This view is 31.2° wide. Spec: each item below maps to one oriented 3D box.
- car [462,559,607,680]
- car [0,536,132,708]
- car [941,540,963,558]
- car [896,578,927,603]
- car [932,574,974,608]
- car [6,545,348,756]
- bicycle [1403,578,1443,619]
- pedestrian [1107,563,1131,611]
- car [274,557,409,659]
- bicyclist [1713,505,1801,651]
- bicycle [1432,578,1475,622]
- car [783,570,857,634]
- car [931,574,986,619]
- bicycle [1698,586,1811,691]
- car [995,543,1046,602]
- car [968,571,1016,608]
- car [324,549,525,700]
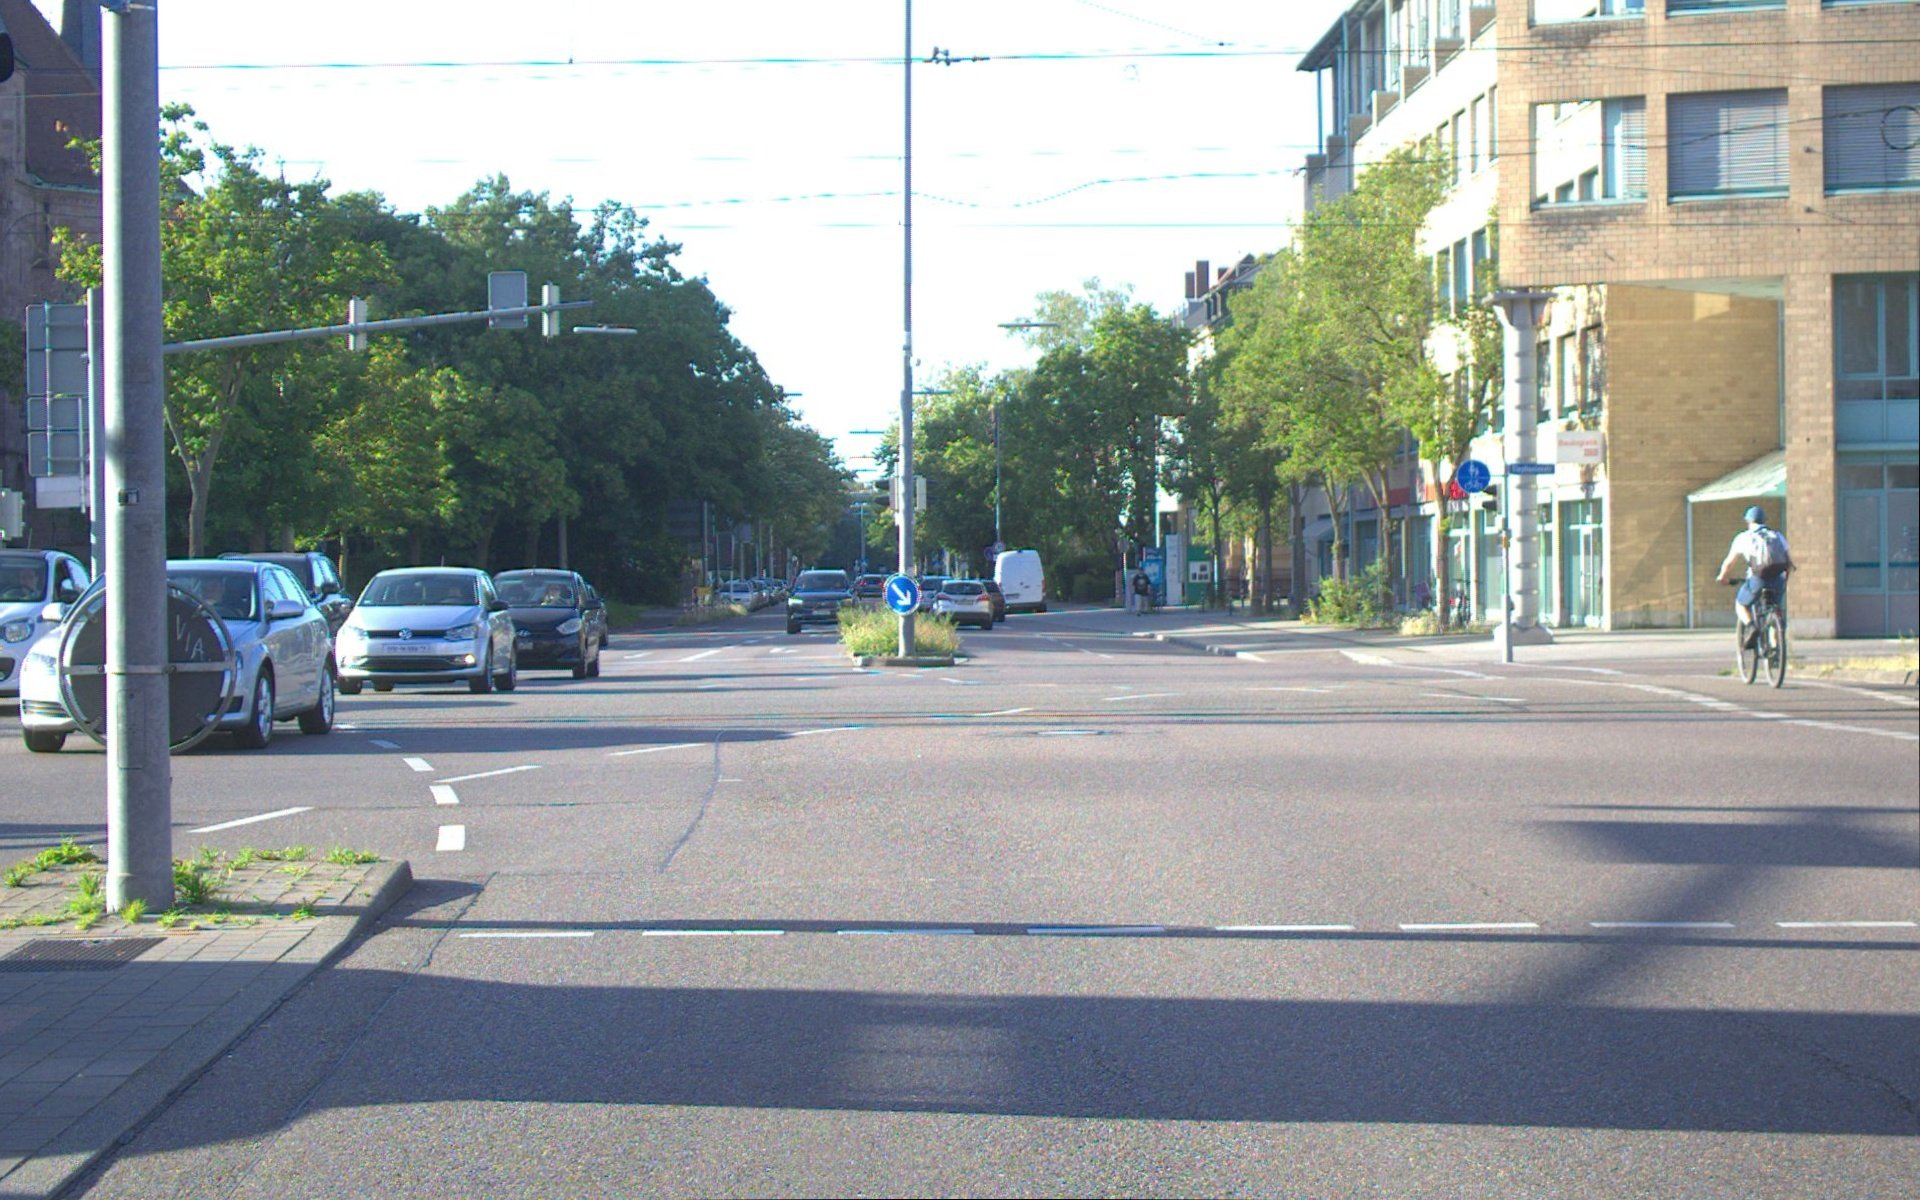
[{"bbox_3d":[-5.893,0.241,47.899,1.578,1.539,3.477,-2,1,-1],"label":"car"},{"bbox_3d":[-9.218,0.188,32.978,1.675,1.539,3.638,-2,1,-1],"label":"car"},{"bbox_3d":[-0.578,-3.789,255.435,1.594,1.263,3.266,0,1,0],"label":"car"},{"bbox_3d":[-2.550,-0.524,180.891,1.594,1.263,3.266,0,1,0],"label":"car"},{"bbox_3d":[-0.282,-0.365,131.933,1.594,1.263,3.266,0,1,0],"label":"car"},{"bbox_3d":[-5.928,0.325,26.482,1.708,1.420,4.103,-2,1,-1],"label":"car"},{"bbox_3d":[11.418,-0.052,84.811,0.646,0.991,2.081,0,0,-1],"label":"bicycle"},{"bbox_3d":[6.047,-0.497,130.755,0.847,1.797,0.776,0,1,-1],"label":"pedestrian"},{"bbox_3d":[-10.109,0.101,56.368,1.578,1.539,3.477,-2,1,-1],"label":"car"},{"bbox_3d":[7.627,-0.217,32.926,0.592,1.364,0.930,1,1,-1],"label":"bicyclist"},{"bbox_3d":[11.513,-0.007,80.290,0.646,0.991,2.081,0,0,-1],"label":"bicycle"},{"bbox_3d":[-3.914,0.062,96.820,1.993,1.718,5.031,-1,0,-1],"label":"car"},{"bbox_3d":[-0.045,-0.123,102.021,1.594,1.263,3.266,0,1,0],"label":"car"},{"bbox_3d":[7.629,0.354,33.081,0.592,0.940,1.978,1,1,-1],"label":"bicycle"},{"bbox_3d":[2.543,-1.148,144.474,1.993,2.432,4.000,1,0,-1],"label":"car"},{"bbox_3d":[1.109,-0.375,119.779,1.594,1.263,3.266,0,1,0],"label":"car"},{"bbox_3d":[-5.987,0.236,38.821,1.675,1.539,3.806,-2,1,-1],"label":"car"}]
